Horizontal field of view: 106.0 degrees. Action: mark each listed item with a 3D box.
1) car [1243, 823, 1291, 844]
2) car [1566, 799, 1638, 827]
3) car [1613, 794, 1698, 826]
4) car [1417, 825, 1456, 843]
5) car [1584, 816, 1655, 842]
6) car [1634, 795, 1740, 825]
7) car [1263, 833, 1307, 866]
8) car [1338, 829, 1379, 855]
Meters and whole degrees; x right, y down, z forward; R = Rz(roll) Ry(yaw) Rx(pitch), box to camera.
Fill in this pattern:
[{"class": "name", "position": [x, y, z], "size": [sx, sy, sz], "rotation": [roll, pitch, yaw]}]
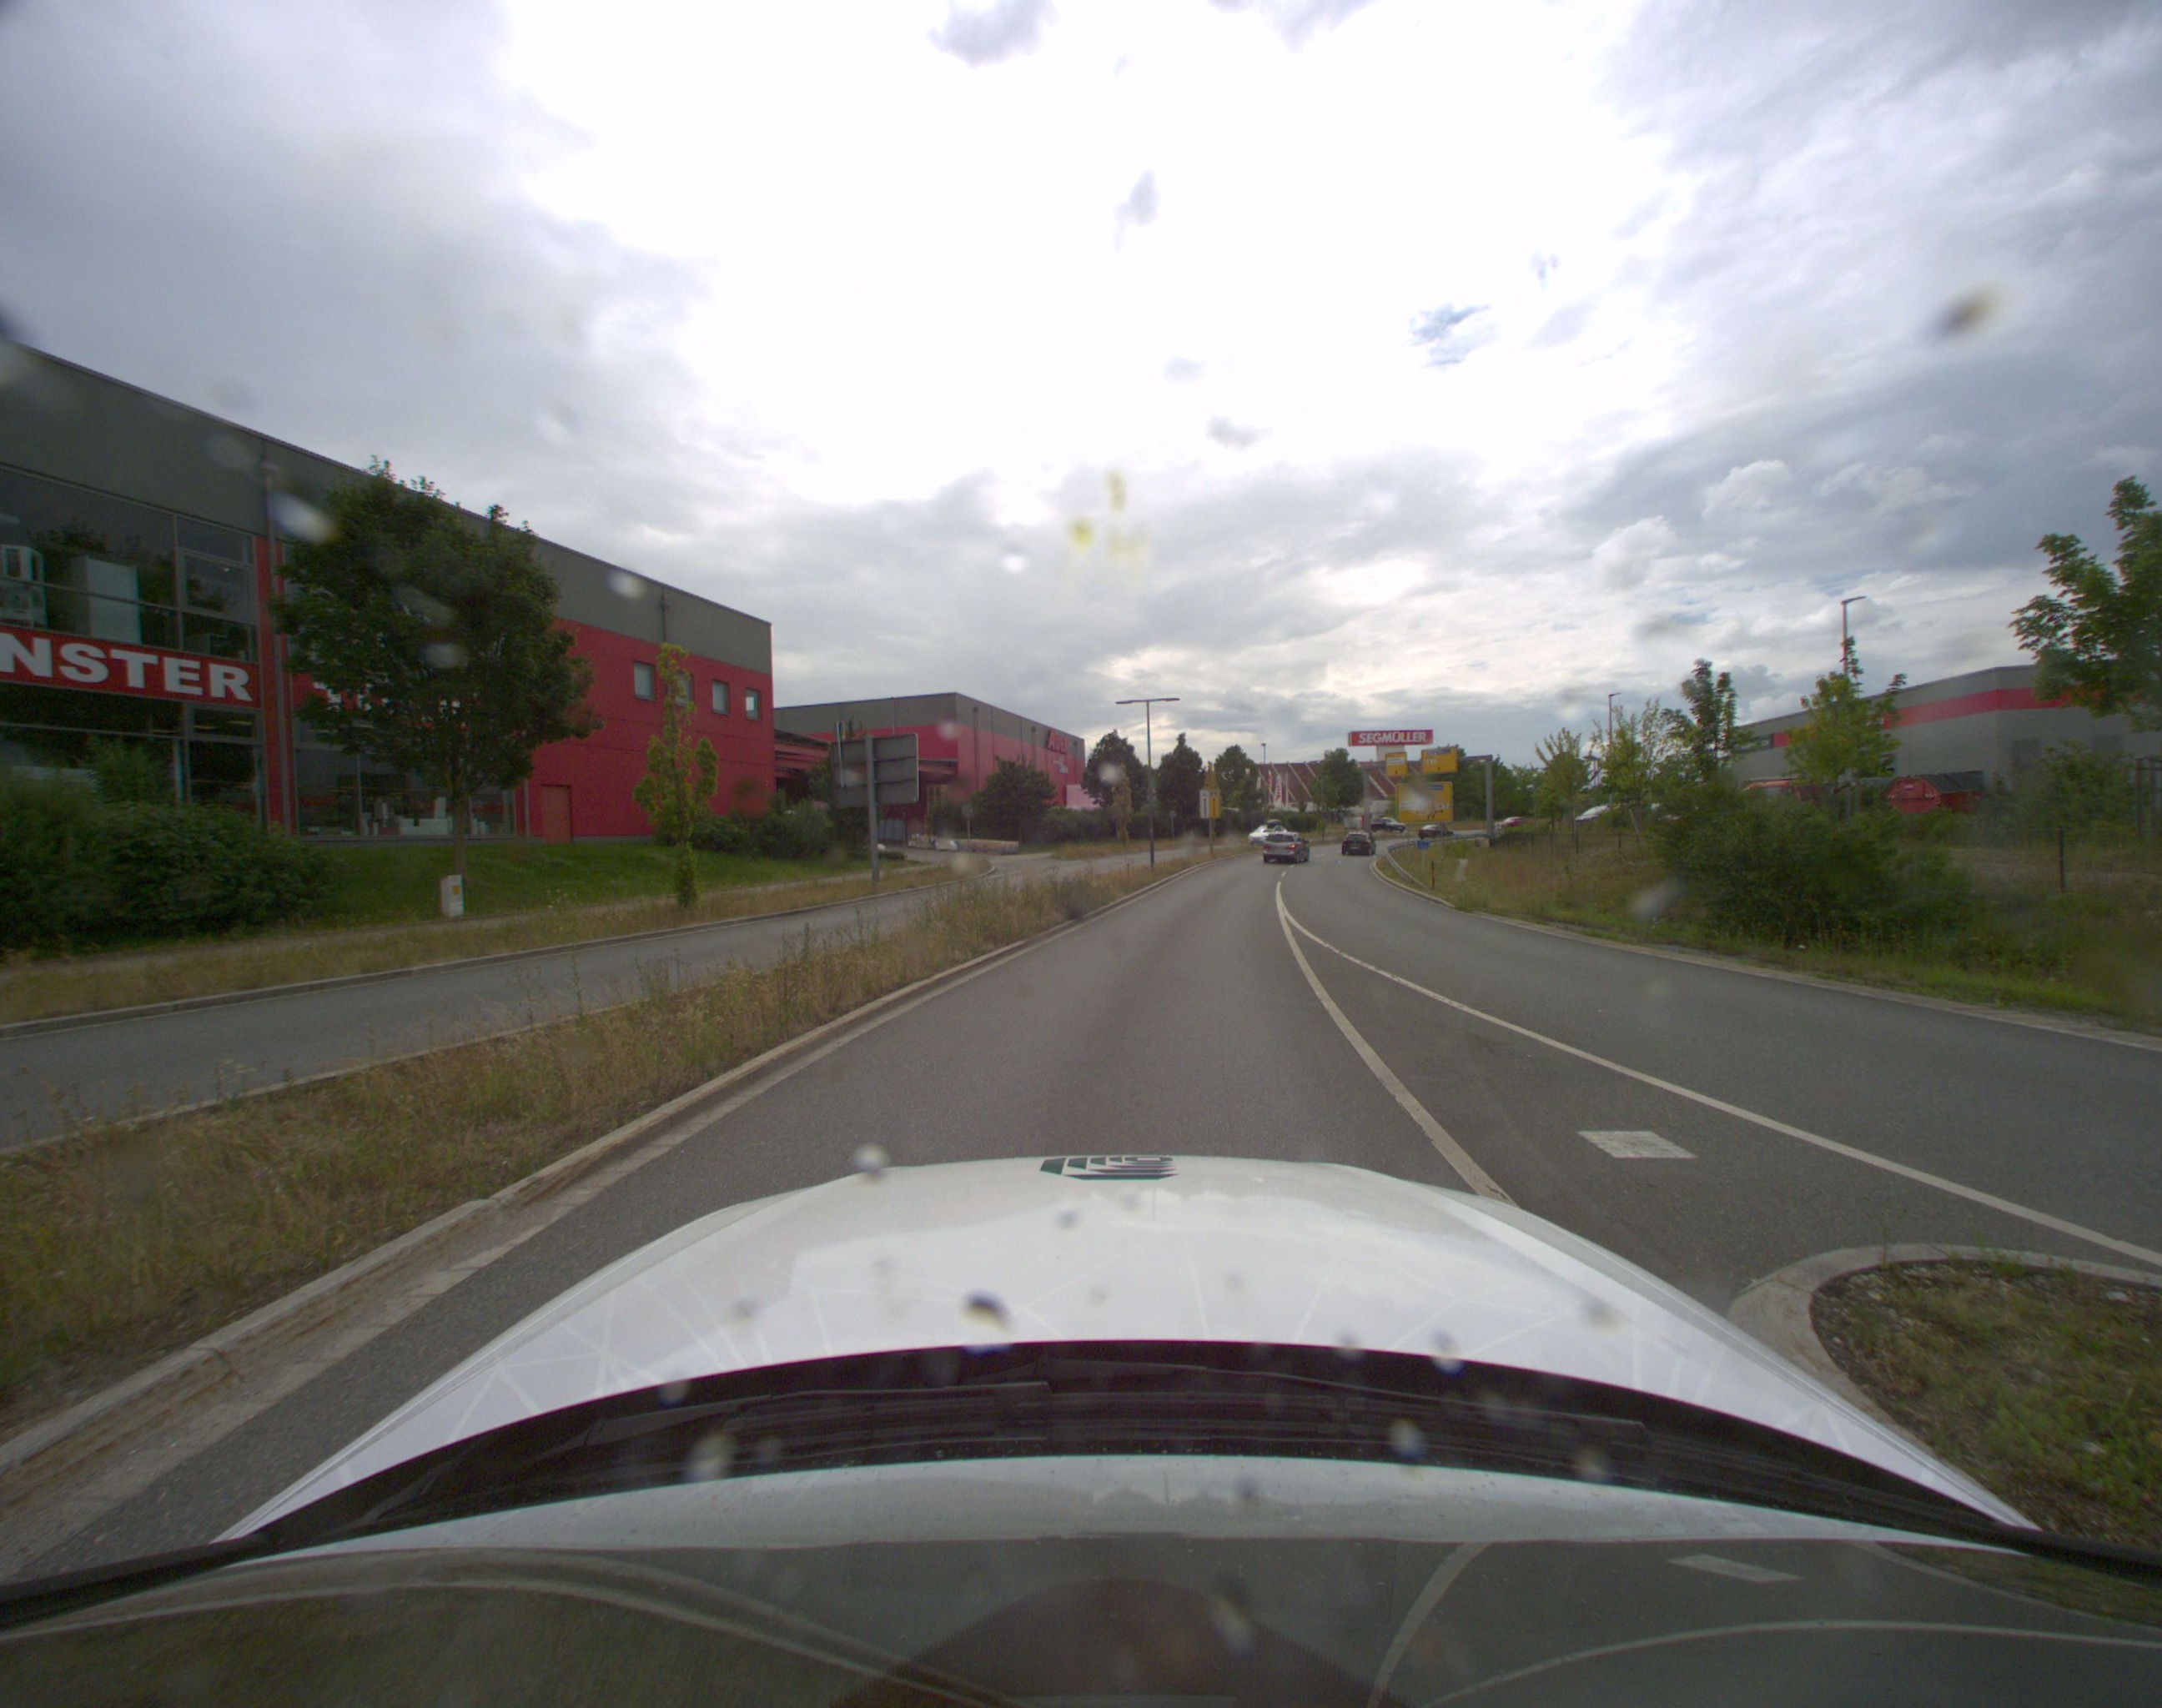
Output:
[{"class": "car", "position": [15.228, -1.701, 66.424], "size": [1.891, 1.625, 4.667], "rotation": [4, 4, 39]}, {"class": "car", "position": [35.484, -2.785, 55.509], "size": [4.163, 1.782, 1.796], "rotation": [0, 3, -16]}, {"class": "car", "position": [31.859, -2.422, 45.202], "size": [3.783, 1.518, 1.687], "rotation": [-4, 2, -10]}, {"class": "car", "position": [32.587, -1.829, 74.612], "size": [4.023, 1.618, 1.889], "rotation": [-1, 0, -44]}, {"class": "car", "position": [35.353, -1.636, 53.485], "size": [3.851, 1.652, 1.725], "rotation": [0, 3, -15]}, {"class": "car", "position": [30.812, -2.220, 41.460], "size": [4.574, 1.400, 1.698], "rotation": [-1, 1, -10]}, {"class": "car", "position": [10.666, -0.253, 42.463], "size": [1.752, 1.616, 3.942], "rotation": [-1, 1, 21]}, {"class": "car", "position": [17.843, -0.766, 52.323], "size": [1.851, 1.605, 3.758], "rotation": [-1, 1, 29]}]
